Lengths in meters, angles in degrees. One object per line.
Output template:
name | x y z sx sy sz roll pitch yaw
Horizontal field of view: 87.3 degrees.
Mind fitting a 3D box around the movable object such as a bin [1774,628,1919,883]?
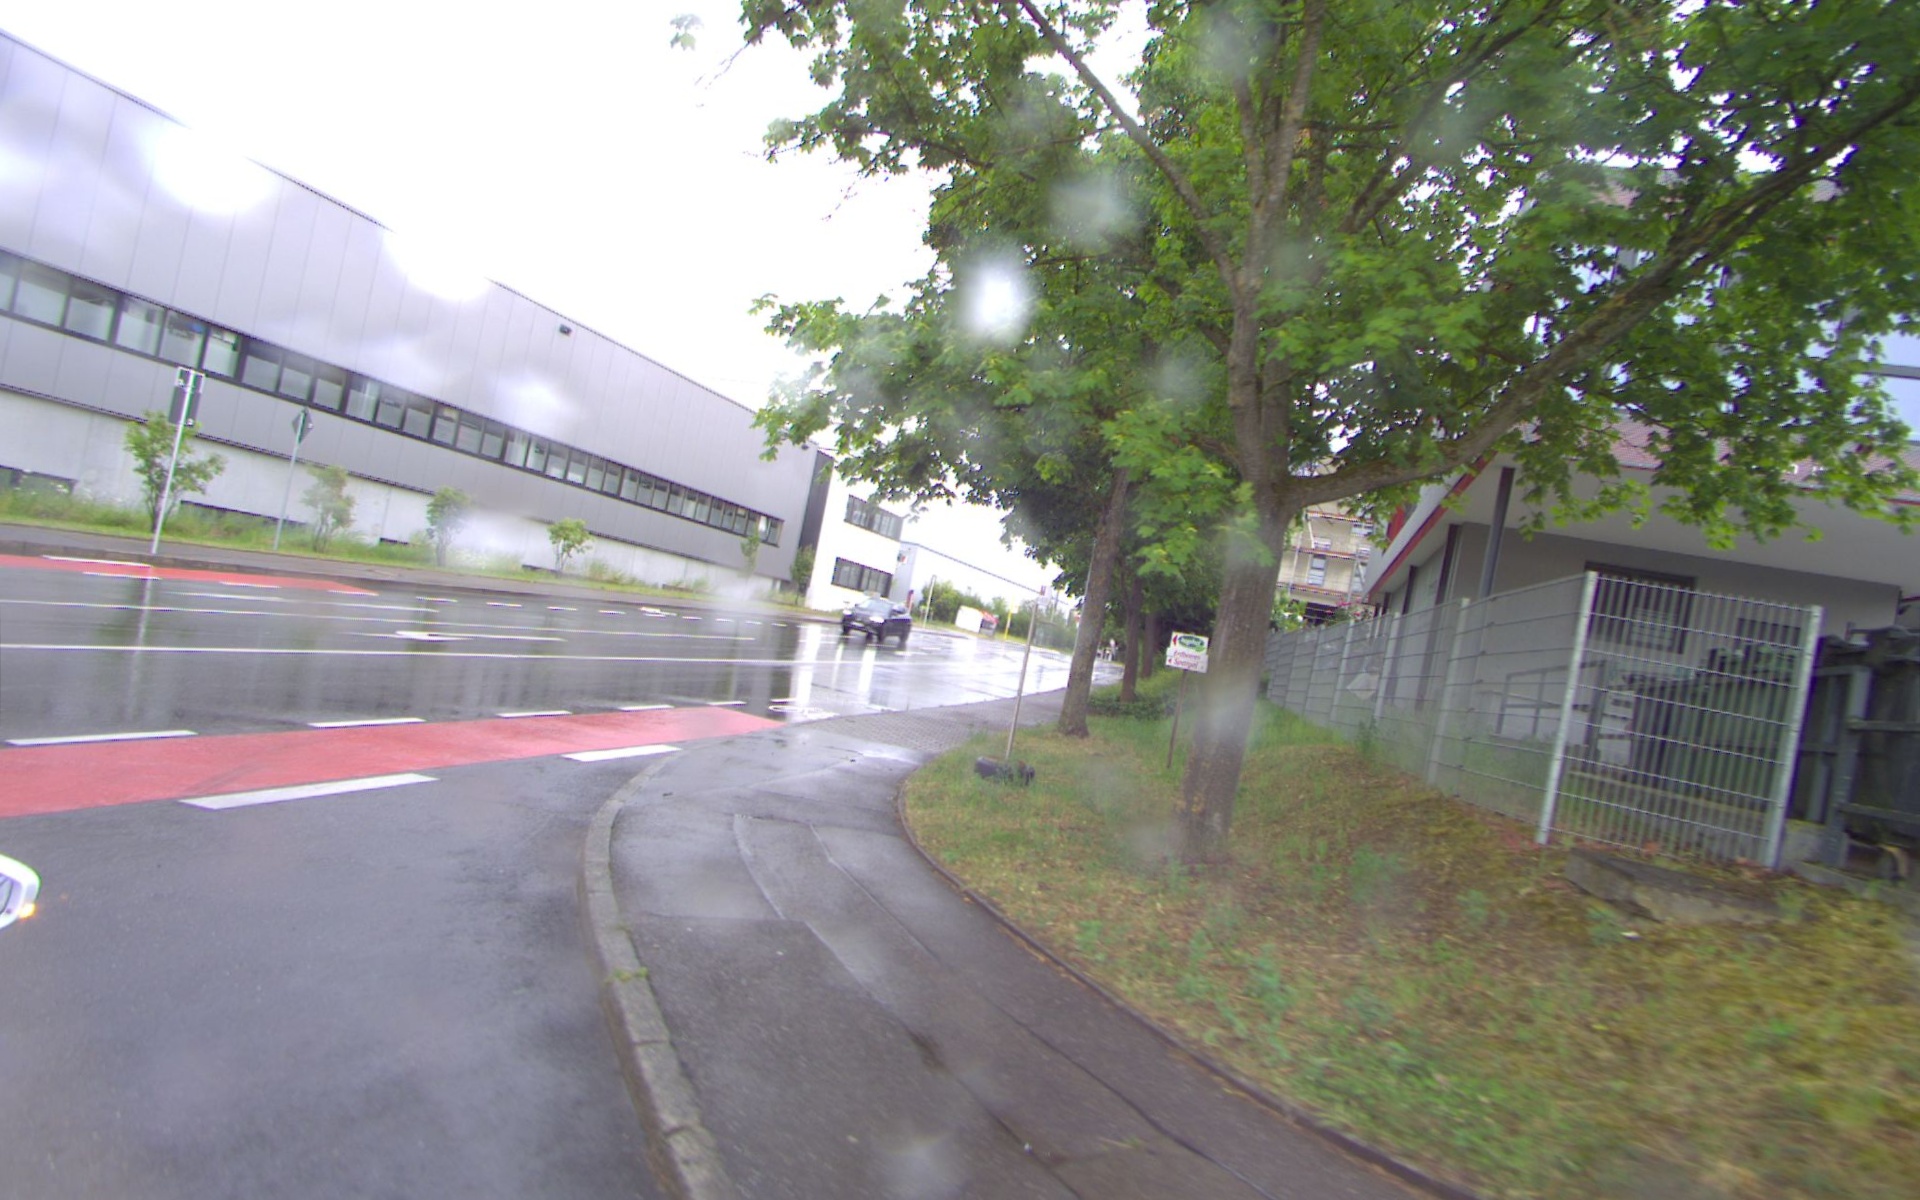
movable object such as a bin | 5.058 0.817 5.049 1.008 1.175 1.143 8 -1 16

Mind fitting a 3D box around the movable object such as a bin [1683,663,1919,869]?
movable object such as a bin | 5.361 0.999 6.365 0.867 1.054 1.054 8 -1 18

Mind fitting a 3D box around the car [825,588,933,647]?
car | -3.326 0.840 43.383 2.317 1.836 6.885 9 -1 14

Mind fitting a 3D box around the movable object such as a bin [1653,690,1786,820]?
movable object such as a bin | 5.620 1.130 7.473 0.529 0.827 0.567 8 -1 16

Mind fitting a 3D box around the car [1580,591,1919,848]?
car | 9.341 1.334 9.958 4.845 2.037 2.065 9 -1 15

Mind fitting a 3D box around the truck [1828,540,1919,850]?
truck | 9.551 1.023 6.886 4.745 2.369 2.252 9 -1 11

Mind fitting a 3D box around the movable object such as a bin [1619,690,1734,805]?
movable object such as a bin | 5.852 1.190 8.239 0.529 0.811 0.523 8 -1 16
